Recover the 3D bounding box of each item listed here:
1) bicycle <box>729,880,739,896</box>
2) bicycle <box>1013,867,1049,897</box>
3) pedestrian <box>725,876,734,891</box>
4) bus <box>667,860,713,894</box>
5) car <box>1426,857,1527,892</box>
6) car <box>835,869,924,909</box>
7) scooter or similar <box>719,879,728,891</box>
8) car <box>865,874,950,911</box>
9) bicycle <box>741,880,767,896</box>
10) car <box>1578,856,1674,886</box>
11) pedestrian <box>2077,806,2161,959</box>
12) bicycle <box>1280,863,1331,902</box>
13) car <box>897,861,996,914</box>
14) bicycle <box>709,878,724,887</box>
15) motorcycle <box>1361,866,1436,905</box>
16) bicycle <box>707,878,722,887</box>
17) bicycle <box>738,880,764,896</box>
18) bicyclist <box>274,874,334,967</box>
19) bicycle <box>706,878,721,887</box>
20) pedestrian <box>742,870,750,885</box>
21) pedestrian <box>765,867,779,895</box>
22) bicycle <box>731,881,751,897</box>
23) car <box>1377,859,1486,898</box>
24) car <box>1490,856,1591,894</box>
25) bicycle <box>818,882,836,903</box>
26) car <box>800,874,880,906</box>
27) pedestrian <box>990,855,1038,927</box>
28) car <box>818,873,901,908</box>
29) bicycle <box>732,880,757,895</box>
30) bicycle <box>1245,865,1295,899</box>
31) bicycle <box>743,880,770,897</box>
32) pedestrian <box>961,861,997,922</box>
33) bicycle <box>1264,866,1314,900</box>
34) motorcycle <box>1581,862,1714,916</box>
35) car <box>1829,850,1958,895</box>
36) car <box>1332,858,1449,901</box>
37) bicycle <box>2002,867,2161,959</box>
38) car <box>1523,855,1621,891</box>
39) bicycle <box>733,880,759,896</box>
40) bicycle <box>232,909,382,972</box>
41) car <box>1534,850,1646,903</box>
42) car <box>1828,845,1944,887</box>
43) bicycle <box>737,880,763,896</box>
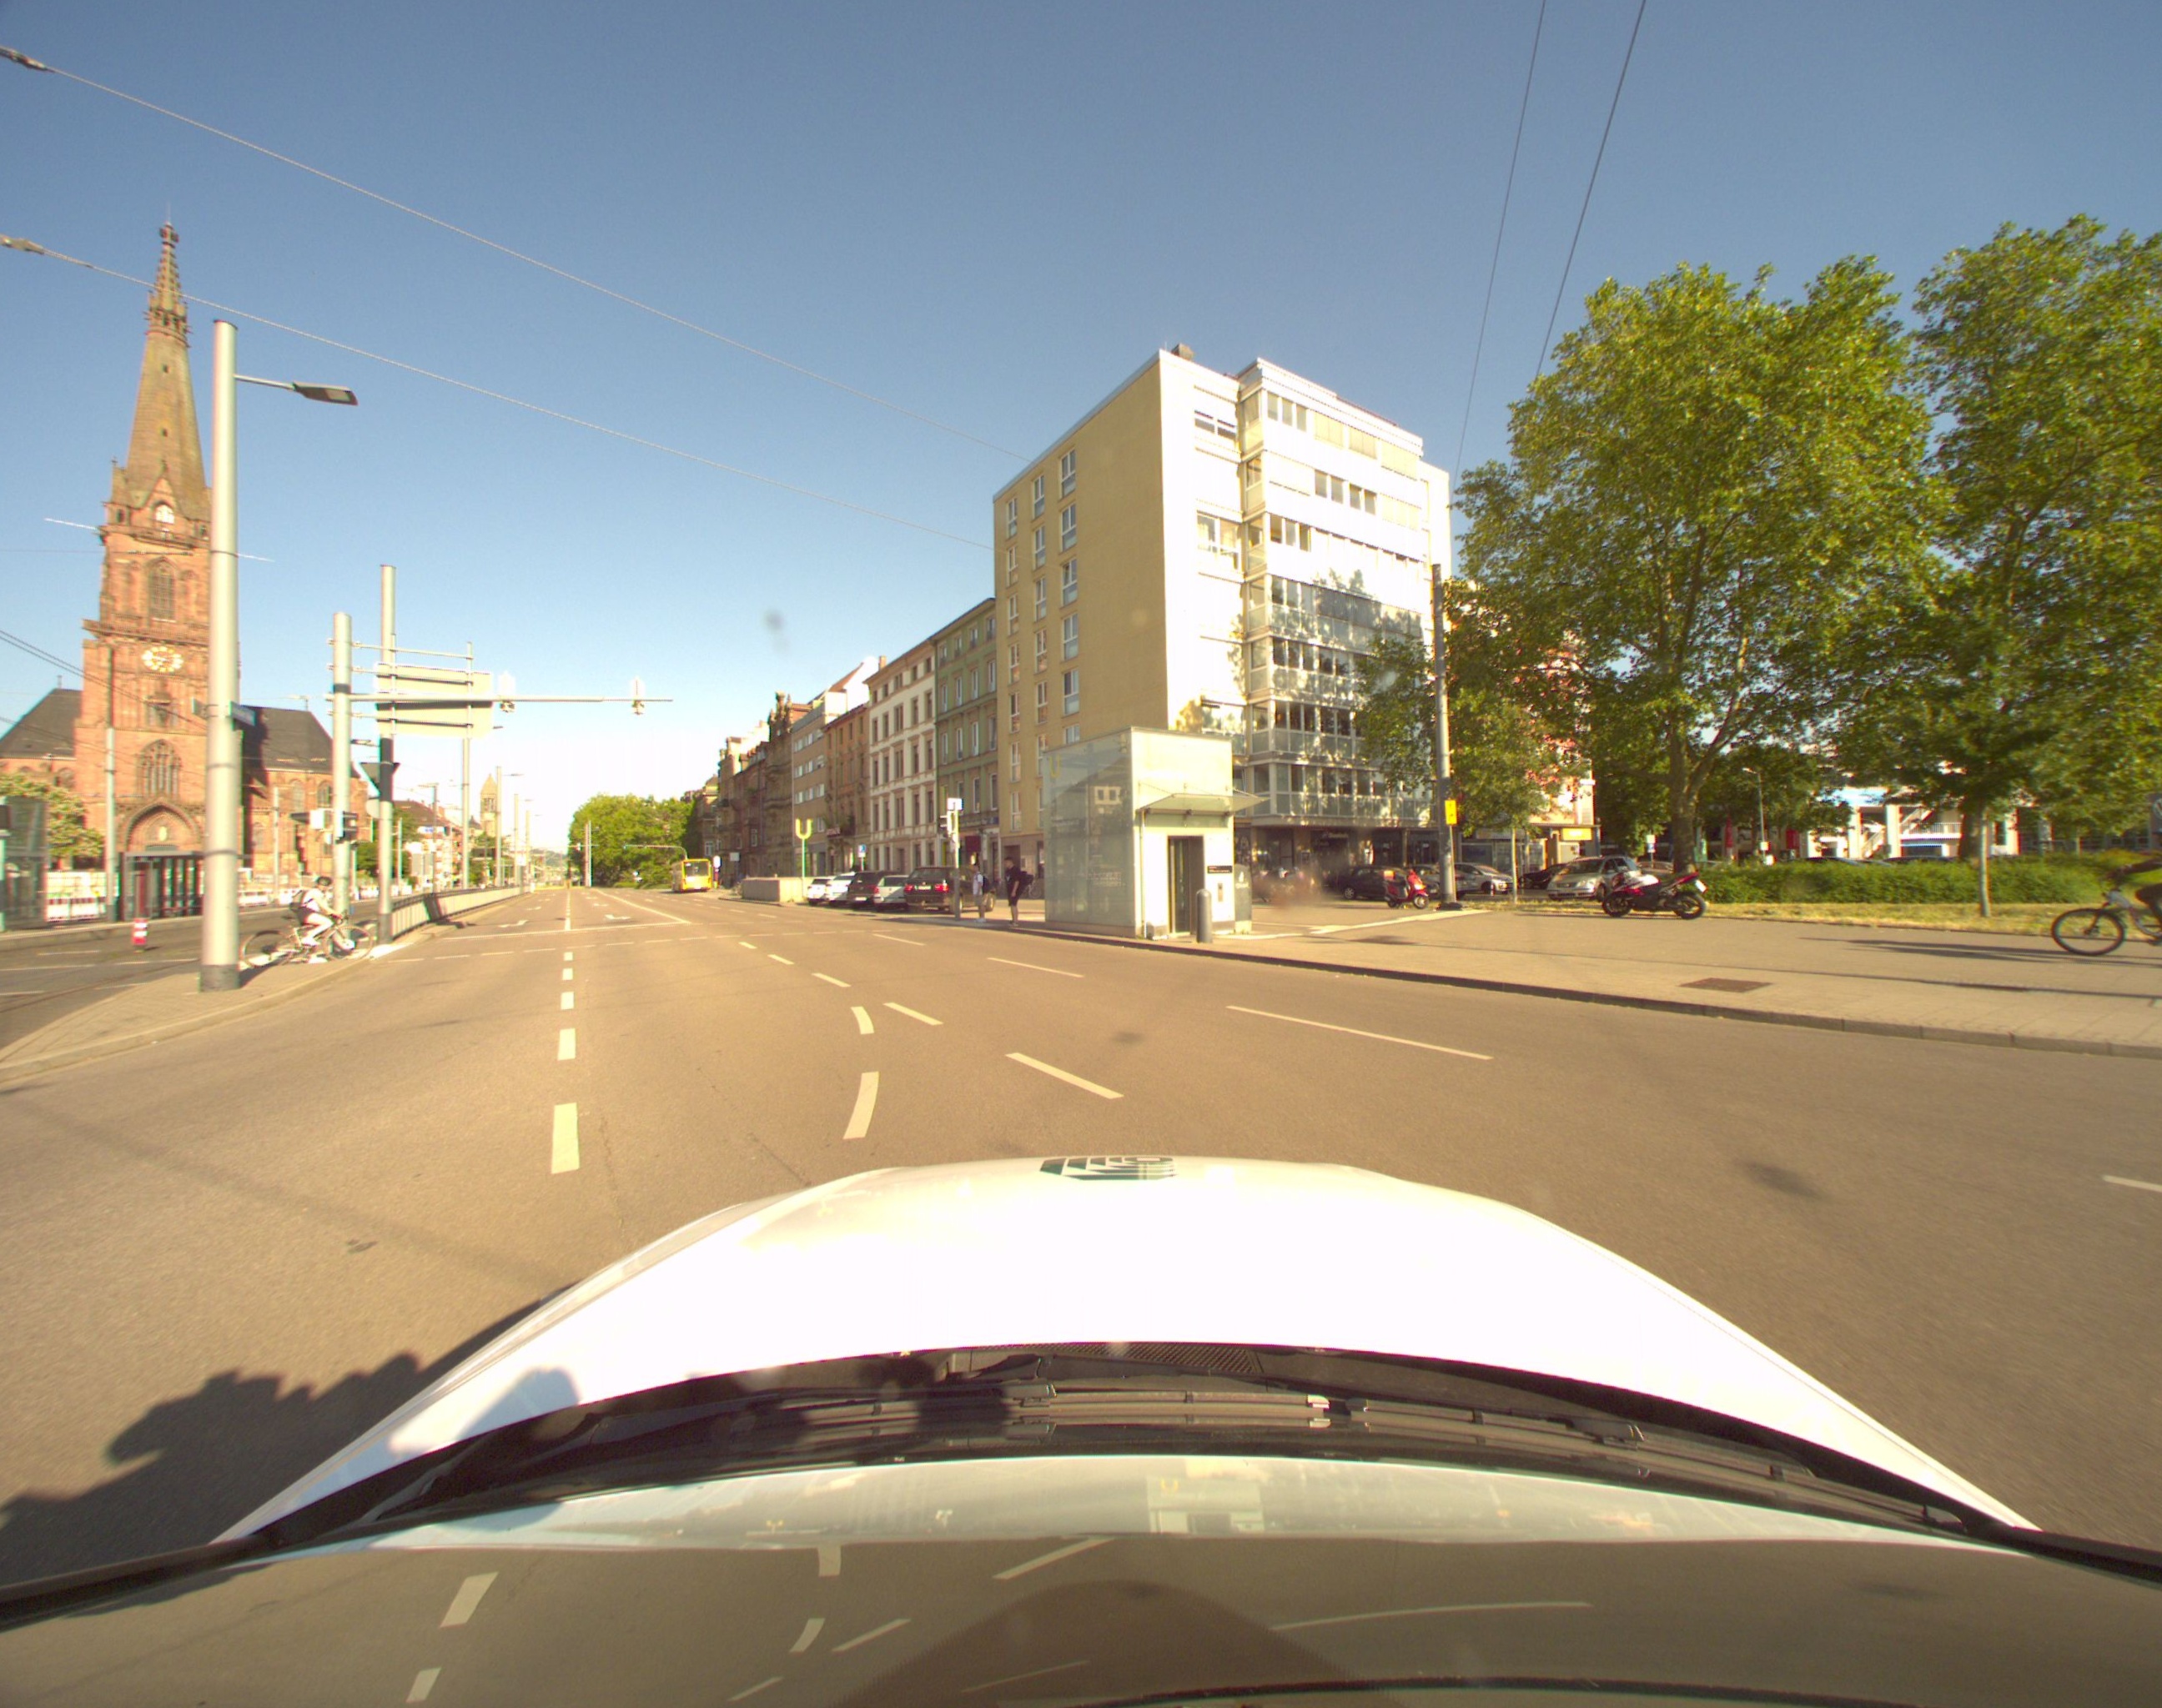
[{"bbox_3d":[-26.273,2.584,61.666,0.472,1.147,1.752,0,-1,-32],"label":"bicycle"},{"bbox_3d":[-2.510,1.382,40.805,0.935,1.357,2.208,-1,2,-29],"label":"bicycle"},{"bbox_3d":[-45.069,3.813,104.426,0.828,1.930,1.125,-1,-1,-33],"label":"pedestrian"},{"bbox_3d":[-40.367,2.388,83.845,2.734,3.181,12.411,-2,-1,-32],"label":"bus"},{"bbox_3d":[18.686,0.908,38.647,1.863,1.420,3.960,-2,2,-32],"label":"car"},{"bbox_3d":[-8.648,1.480,35.327,1.940,1.598,4.267,-1,-2,14],"label":"car"},{"bbox_3d":[-38.659,3.347,88.115,0.435,1.249,1.279,-2,-2,-42],"label":"scooter or similar"},{"bbox_3d":[-6.818,1.527,32.406,1.770,1.400,3.906,-1,-3,14],"label":"car"},{"bbox_3d":[-24.502,2.550,61.039,1.777,1.187,0.465,0,-1,-33],"label":"bicycle"},{"bbox_3d":[29.607,0.874,44.322,1.863,1.420,3.960,-2,2,-32],"label":"car"},{"bbox_3d":[14.623,0.361,11.065,1.038,2.013,1.257,-2,2,-33],"label":"pedestrian"},{"bbox_3d":[8.537,1.077,30.913,2.008,1.345,0.806,-2,-1,-38],"label":"bicycle"},{"bbox_3d":[-4.866,1.218,30.103,1.939,1.814,4.269,-1,-2,16],"label":"car"},{"bbox_3d":[-54.870,4.237,122.530,1.900,1.239,0.484,-2,-2,-45],"label":"bicycle"},{"bbox_3d":[9.141,0.926,23.486,0.885,1.046,1.784,-2,-2,-35],"label":"motorcycle"},{"bbox_3d":[-55.565,4.323,123.440,1.900,1.239,0.484,-2,-2,-45],"label":"bicycle"},{"bbox_3d":[-25.061,2.582,61.924,1.777,1.187,0.465,0,-1,-33],"label":"bicycle"},{"bbox_3d":[-14.251,1.200,14.961,0.679,1.616,0.806,-2,-1,-37],"label":"bicyclist"},{"bbox_3d":[-55.905,4.311,123.913,1.900,1.239,0.484,-2,-2,-45],"label":"bicycle"},{"bbox_3d":[-43.342,2.995,105.318,0.828,1.930,1.125,-1,-1,-33],"label":"pedestrian"},{"bbox_3d":[-22.686,1.952,59.802,0.756,2.013,0.691,-2,2,-32],"label":"pedestrian"},{"bbox_3d":[-24.819,2.540,59.407,1.748,1.147,0.473,-1,-1,34],"label":"bicycle"},{"bbox_3d":[14.947,1.003,34.893,1.863,1.420,3.960,-2,2,-32],"label":"car"},{"bbox_3d":[22.639,1.000,40.287,1.863,1.635,3.960,-2,2,-32],"label":"car"},{"bbox_3d":[-13.786,2.074,44.212,0.415,1.110,1.098,1,-2,9],"label":"bicycle"},{"bbox_3d":[-12.214,1.803,41.510,1.940,1.464,4.130,-2,-1,16],"label":"car"},{"bbox_3d":[-1.649,0.906,20.205,0.859,1.728,0.799,-2,-1,26],"label":"pedestrian"},{"bbox_3d":[-10.340,1.690,38.407,1.940,1.570,4.266,-1,-2,14],"label":"car"},{"bbox_3d":[-26.426,2.611,63.933,1.777,1.187,0.465,0,-1,-33],"label":"bicycle"},{"bbox_3d":[7.584,1.123,32.601,2.008,1.248,0.806,-2,-1,-38],"label":"bicycle"},{"bbox_3d":[-23.991,2.548,60.250,1.777,1.178,0.465,0,-1,-33],"label":"bicycle"},{"bbox_3d":[-2.960,1.084,23.672,0.743,1.728,0.702,-2,-2,41],"label":"pedestrian"},{"bbox_3d":[8.111,1.130,31.745,2.008,1.200,0.806,-2,-1,-38],"label":"bicycle"},{"bbox_3d":[12.384,0.752,17.843,2.253,1.074,1.047,-2,0,42],"label":"motorcycle"},{"bbox_3d":[37.656,0.796,37.829,1.864,1.868,3.958,-2,2,-34],"label":"car"},{"bbox_3d":[12.629,0.982,33.424,1.864,1.482,4.182,-2,2,-35],"label":"car"},{"bbox_3d":[14.583,0.802,11.140,1.038,1.123,2.505,-2,2,-32],"label":"bicycle"},{"bbox_3d":[25.343,0.912,42.145,1.863,1.635,3.960,-2,2,-32],"label":"car"},{"bbox_3d":[-26.146,2.616,63.500,1.804,1.187,0.465,0,-1,-33],"label":"bicycle"},{"bbox_3d":[-14.173,1.561,14.997,1.904,0.942,0.806,-2,-1,-38],"label":"bicycle"},{"bbox_3d":[18.950,0.828,30.285,4.015,1.698,1.902,-2,-3,-33],"label":"car"},{"bbox_3d":[41.366,0.563,41.925,1.864,1.999,3.958,-2,2,-34],"label":"car"},{"bbox_3d":[-25.340,2.590,62.356,1.777,1.187,0.465,0,-1,-33],"label":"bicycle"}]
